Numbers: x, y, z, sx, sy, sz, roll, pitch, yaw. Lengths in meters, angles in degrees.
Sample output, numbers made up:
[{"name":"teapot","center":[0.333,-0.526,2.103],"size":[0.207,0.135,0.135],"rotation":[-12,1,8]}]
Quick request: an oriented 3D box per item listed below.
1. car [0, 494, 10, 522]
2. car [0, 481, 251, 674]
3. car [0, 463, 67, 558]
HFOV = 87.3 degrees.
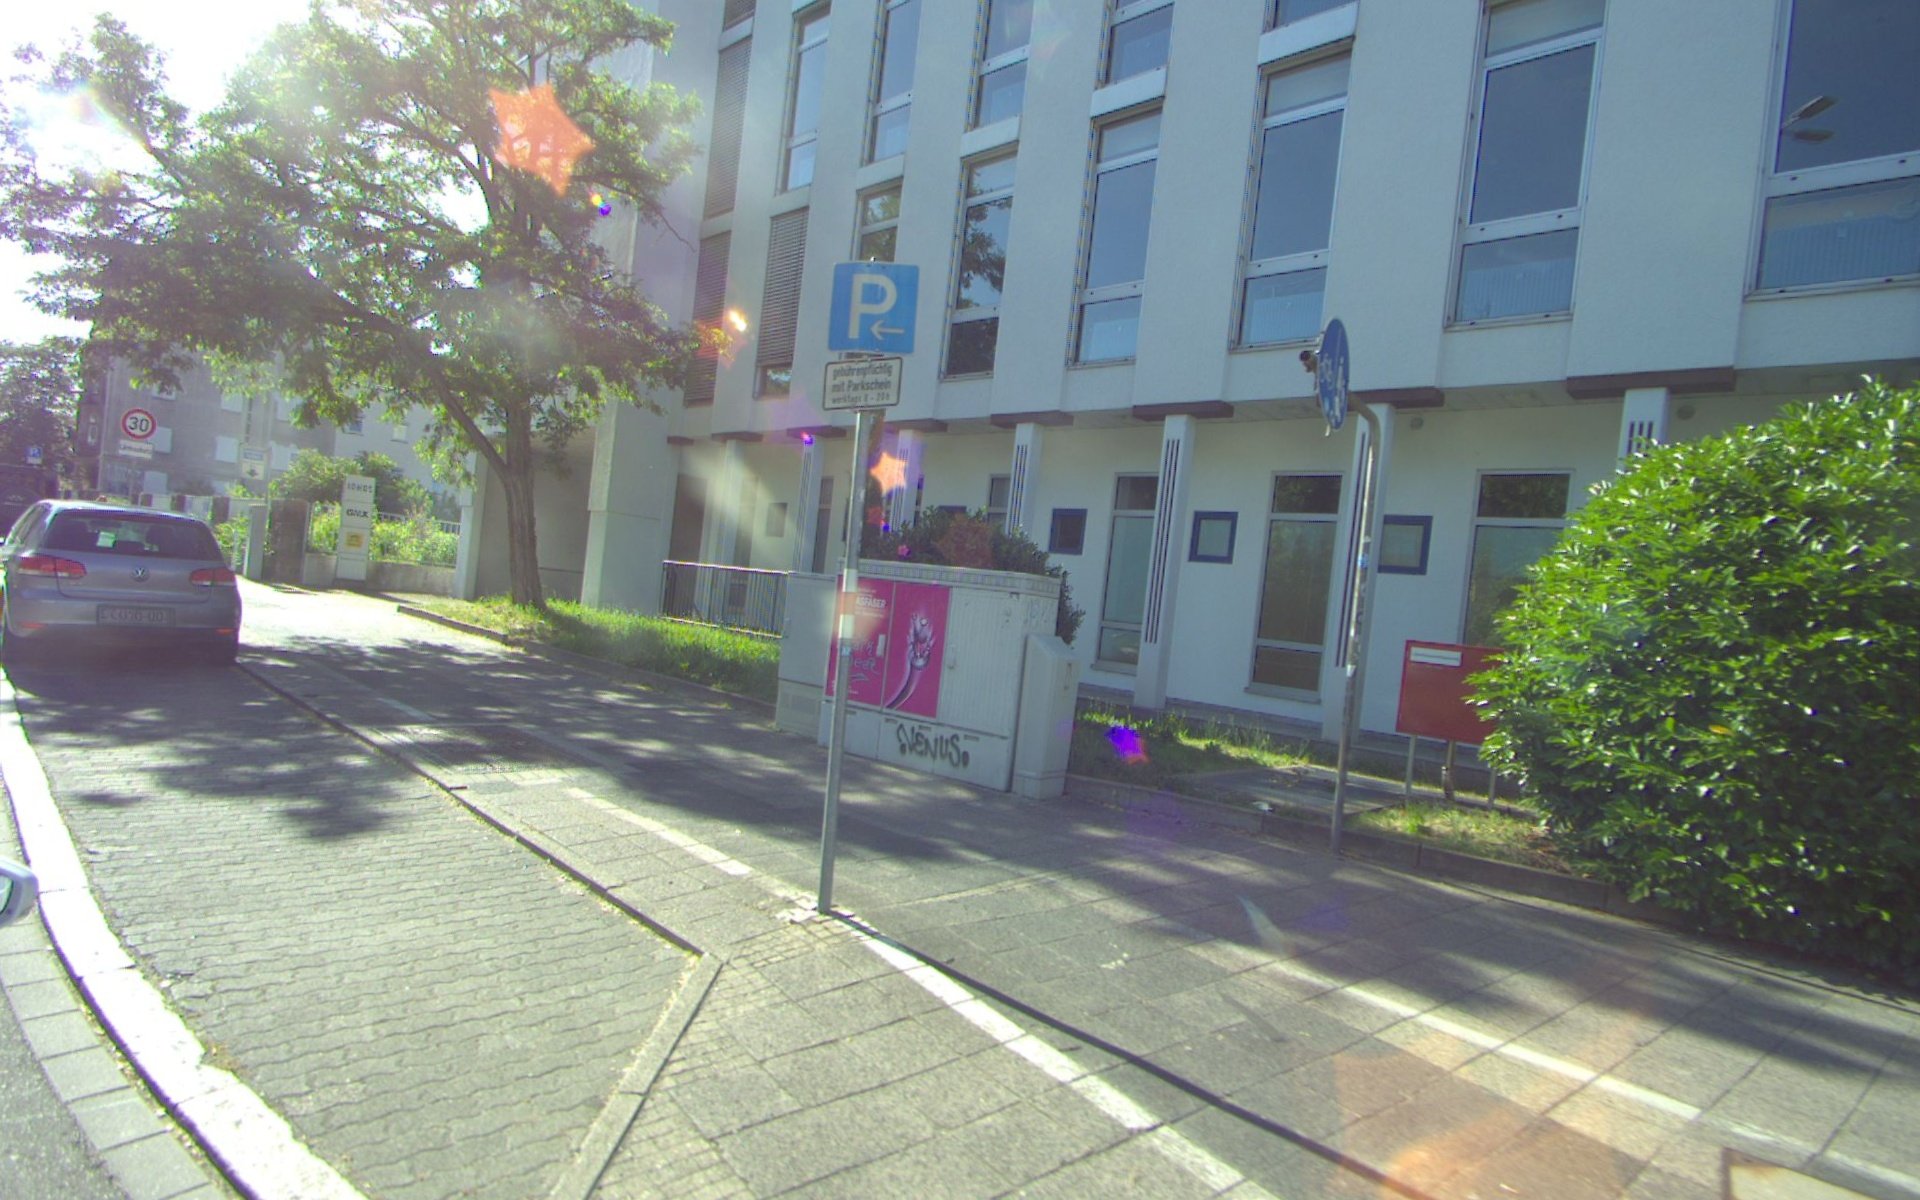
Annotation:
[{"name":"car","center":[-44.626,-4.277,45.867],"size":[3.847,1.199,1.663],"rotation":[7,3,43]},{"name":"car","center":[-8.812,-0.314,10.385],"size":[4.100,1.467,1.634],"rotation":[9,2,44]},{"name":"car","center":[-23.275,-2.232,24.643],"size":[4.714,2.039,1.655],"rotation":[6,1,44]}]
